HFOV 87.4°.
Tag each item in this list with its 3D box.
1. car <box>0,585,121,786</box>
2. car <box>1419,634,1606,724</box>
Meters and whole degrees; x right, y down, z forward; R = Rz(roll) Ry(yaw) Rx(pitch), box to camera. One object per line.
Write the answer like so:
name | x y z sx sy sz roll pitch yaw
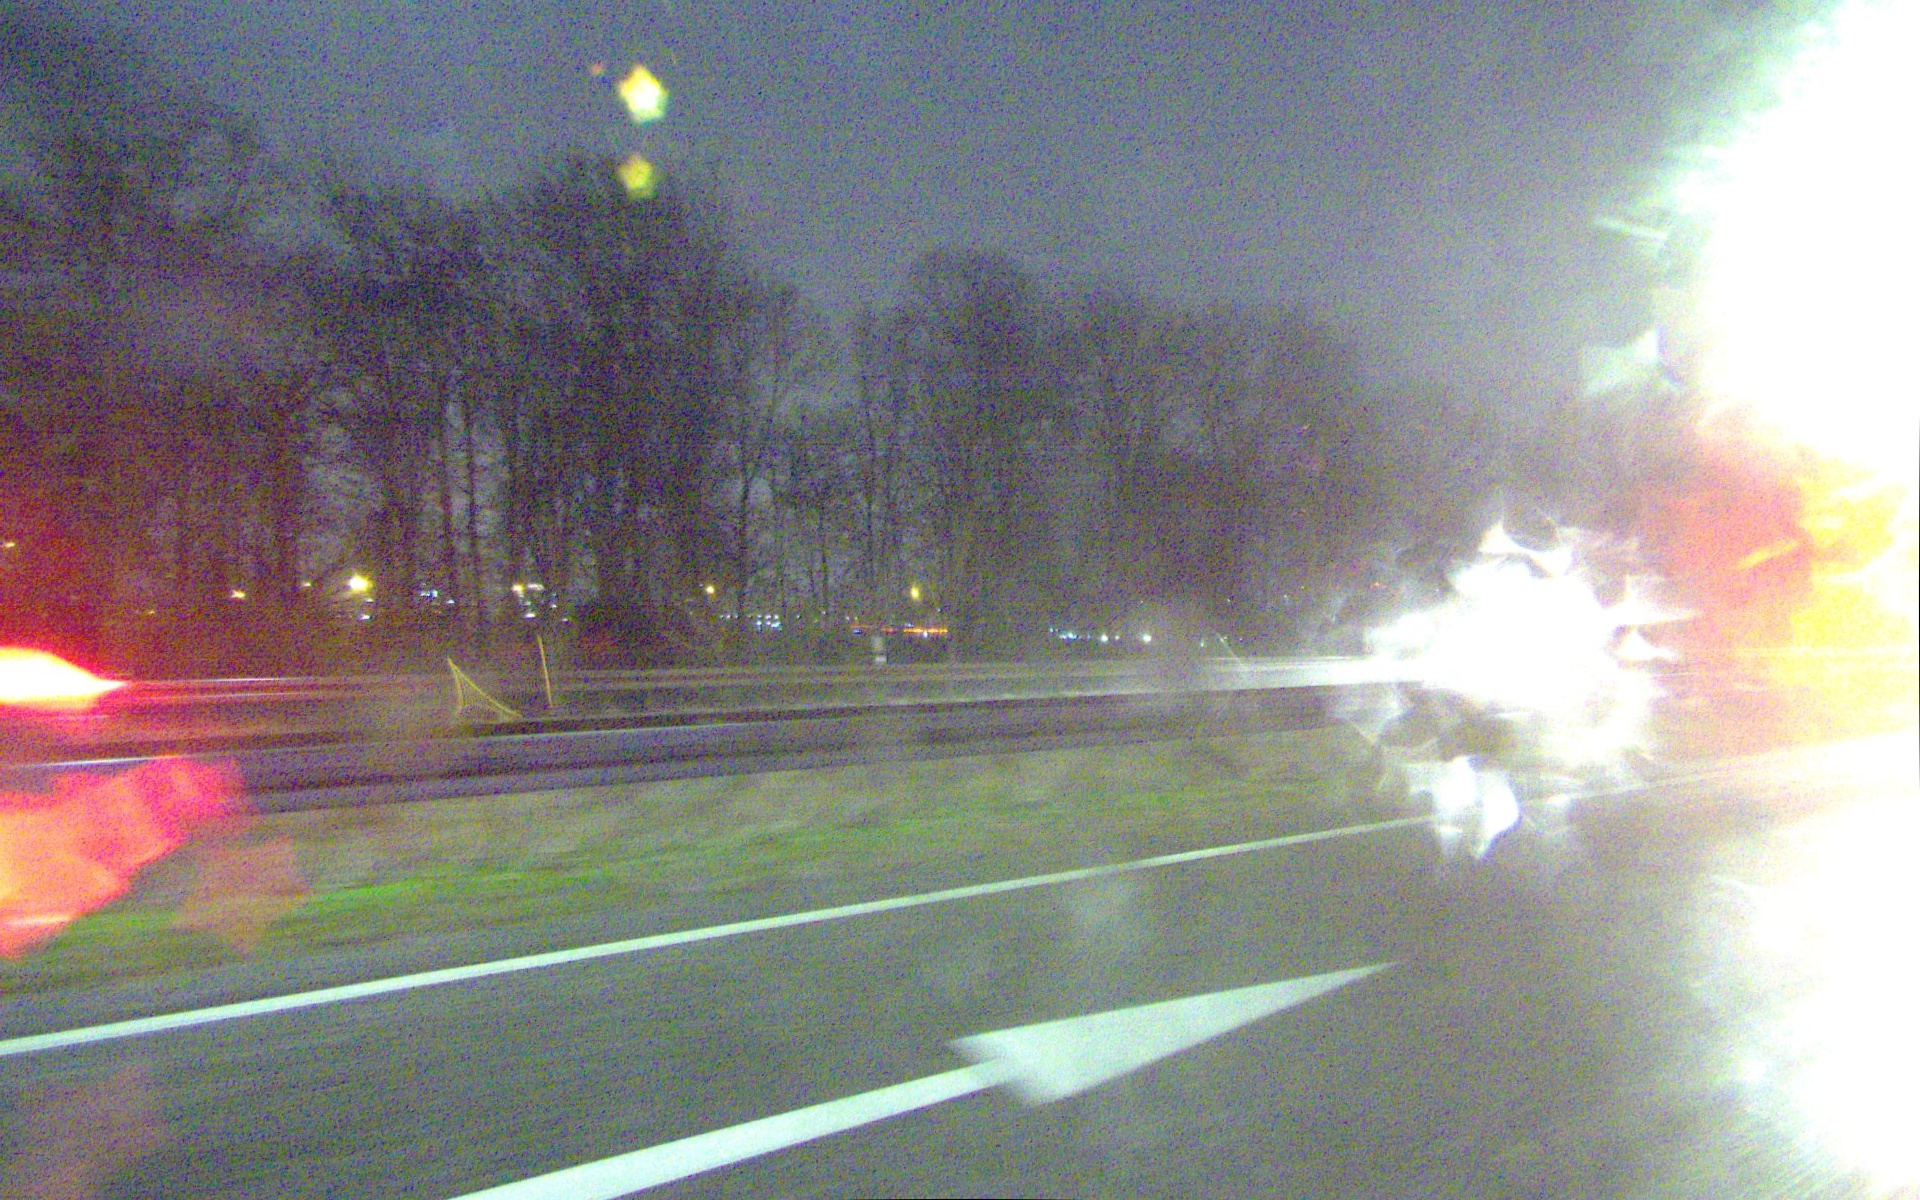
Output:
car | -10.832 0.715 9.098 4.654 1.798 1.982 2 1 -32
car | 13.016 1.805 23.624 4.151 1.833 1.984 2 1 -31
